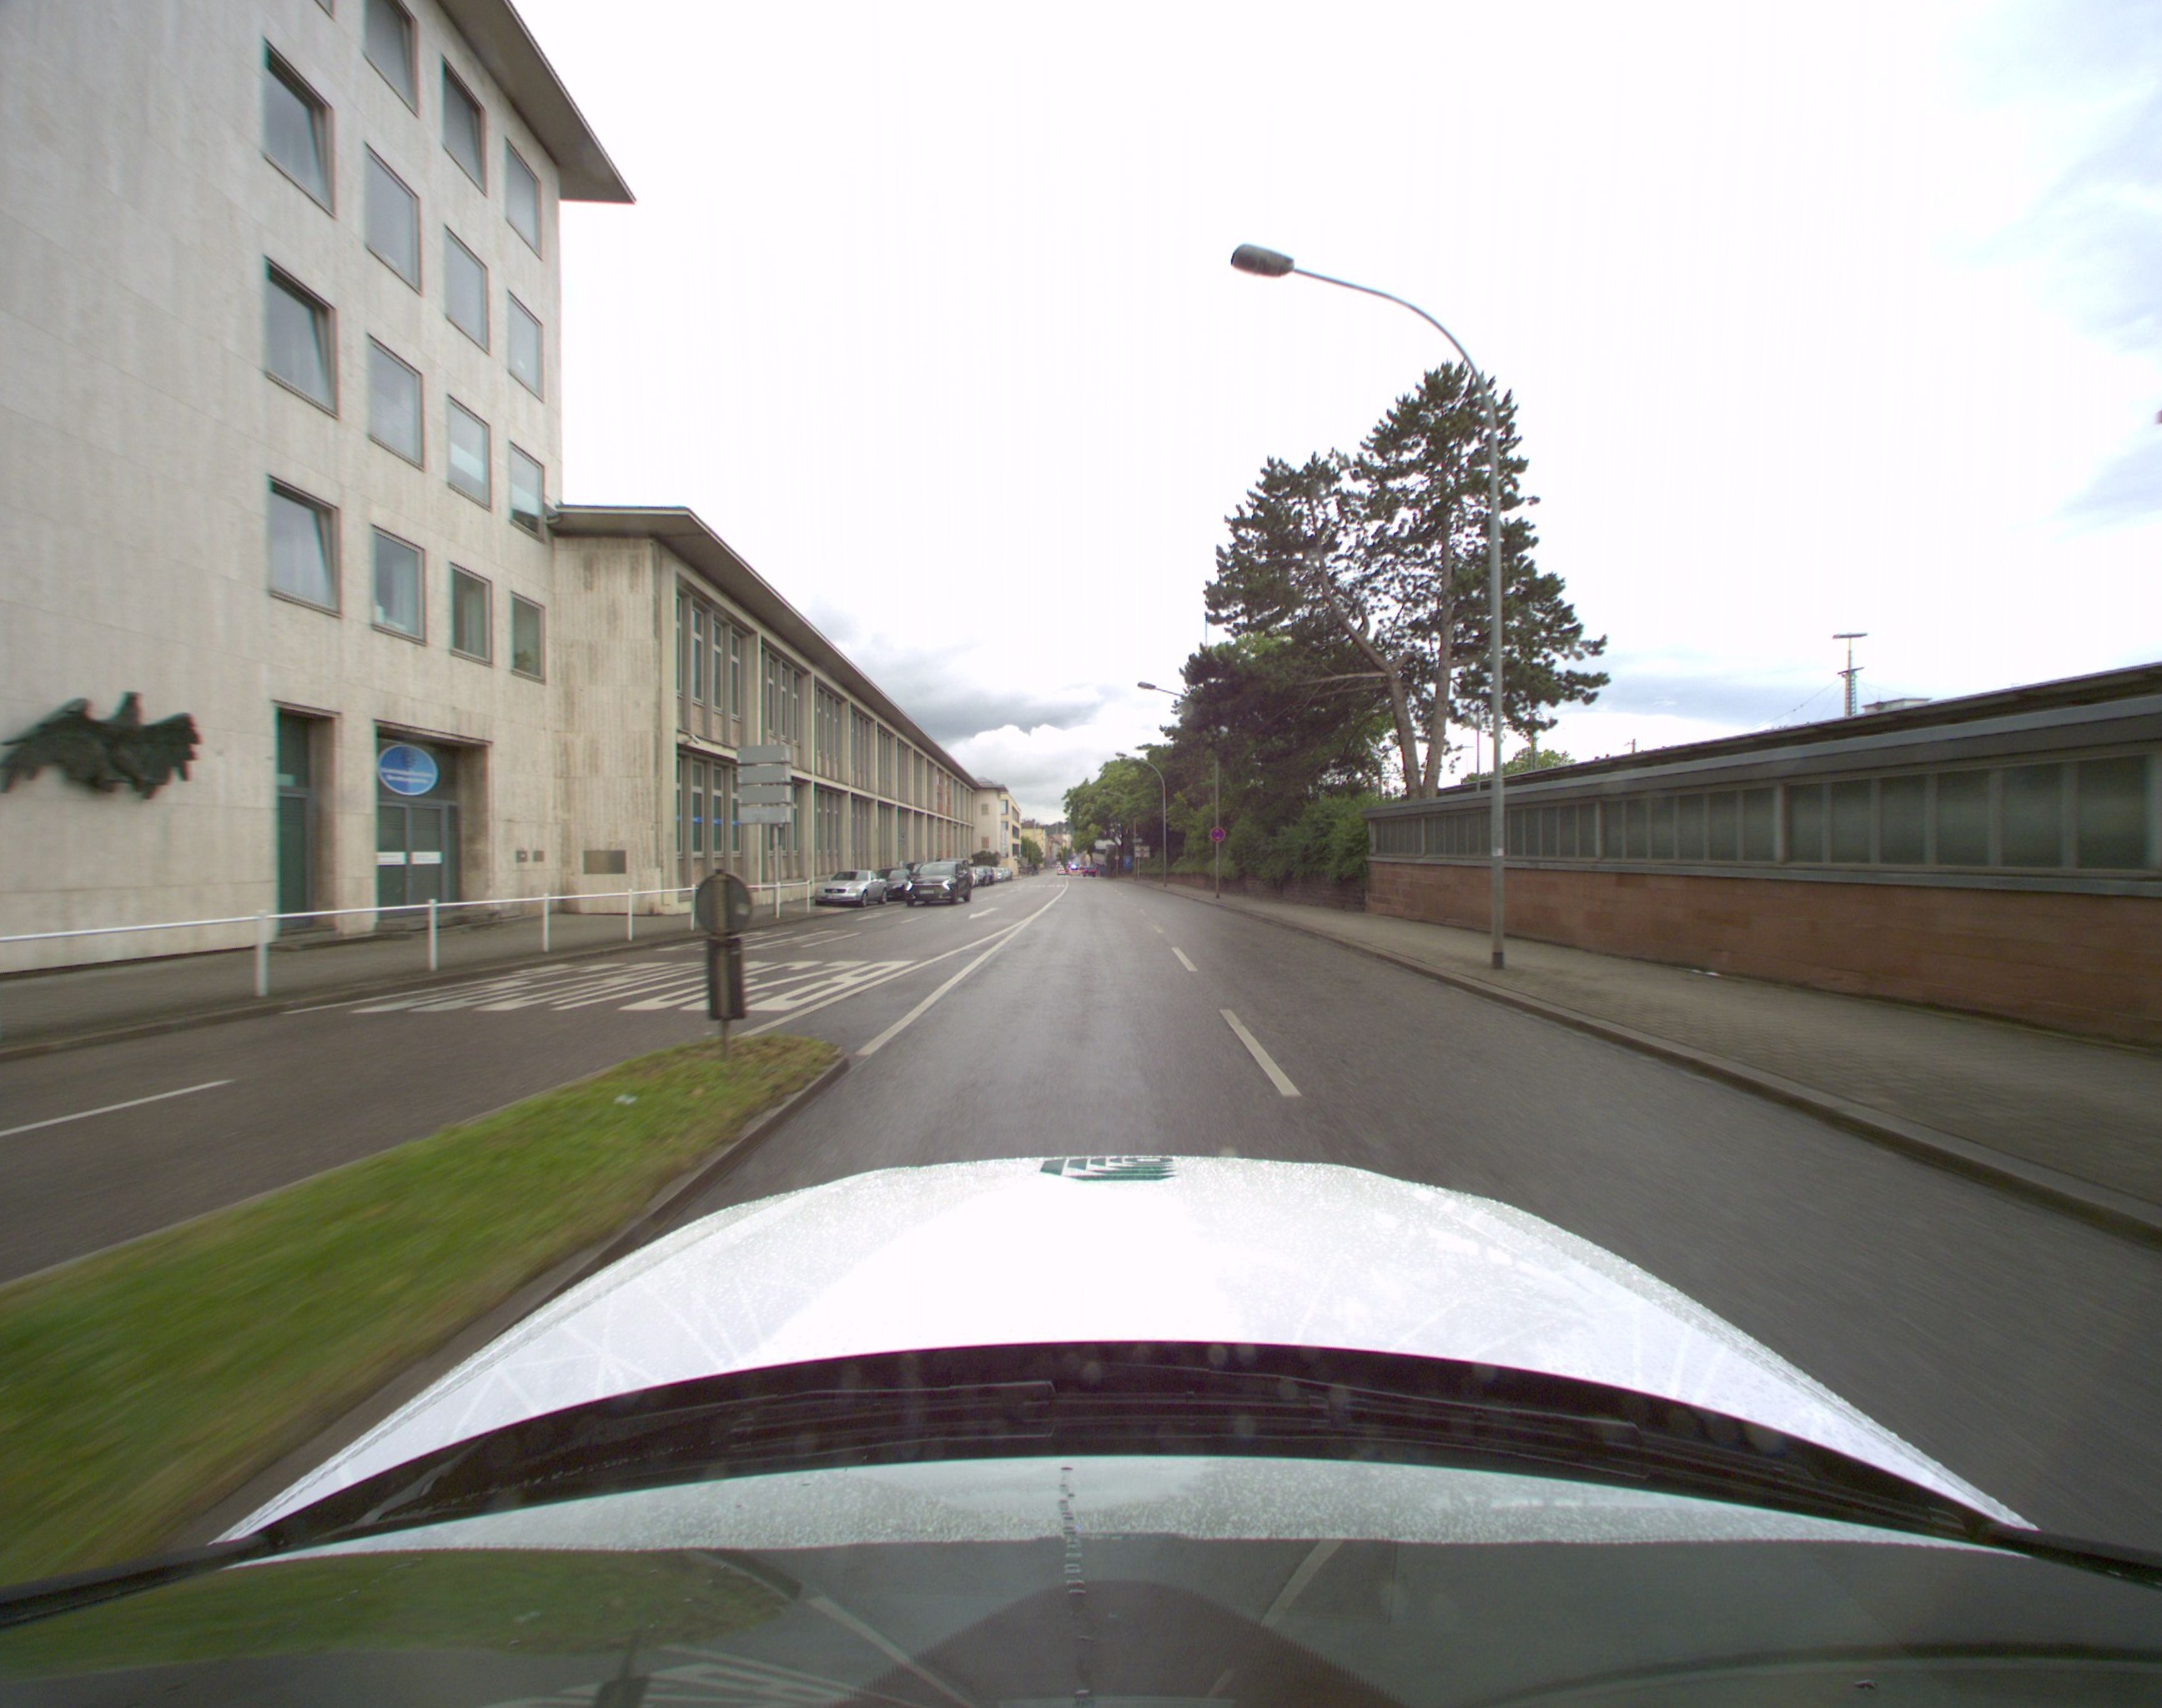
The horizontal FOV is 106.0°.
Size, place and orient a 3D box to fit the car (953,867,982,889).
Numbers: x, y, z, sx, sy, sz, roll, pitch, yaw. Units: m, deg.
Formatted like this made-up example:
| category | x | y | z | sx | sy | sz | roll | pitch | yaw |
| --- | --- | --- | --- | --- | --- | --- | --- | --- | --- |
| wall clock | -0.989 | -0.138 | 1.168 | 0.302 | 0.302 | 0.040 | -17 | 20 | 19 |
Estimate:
| category | x | y | z | sx | sy | sz | roll | pitch | yaw |
| --- | --- | --- | --- | --- | --- | --- | --- | --- | --- |
| car | -8.216 | 1.717 | 59.265 | 1.561 | 1.484 | 3.552 | -1 | -1 | 0 |

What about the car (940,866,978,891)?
| category | x | y | z | sx | sy | sz | roll | pitch | yaw |
| --- | --- | --- | --- | --- | --- | --- | --- | --- | --- |
| car | -8.104 | 1.622 | 54.548 | 1.855 | 1.552 | 4.312 | -1 | -1 | 0 |

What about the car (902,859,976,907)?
| category | x | y | z | sx | sy | sz | roll | pitch | yaw |
| --- | --- | --- | --- | --- | --- | --- | --- | --- | --- |
| car | -5.368 | 1.055 | 31.369 | 1.814 | 1.660 | 4.341 | -2 | 0 | 3 |

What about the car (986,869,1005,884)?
| category | x | y | z | sx | sy | sz | roll | pitch | yaw |
| --- | --- | --- | --- | --- | --- | --- | --- | --- | --- |
| car | -8.884 | 2.359 | 84.997 | 1.744 | 1.435 | 4.481 | 2 | -2 | -3 |

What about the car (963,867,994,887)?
| category | x | y | z | sx | sy | sz | roll | pitch | yaw |
| --- | --- | --- | --- | --- | --- | --- | --- | --- | --- |
| car | -8.133 | 1.779 | 64.760 | 1.809 | 1.484 | 4.908 | 0 | -1 | 0 |

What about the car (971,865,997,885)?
| category | x | y | z | sx | sy | sz | roll | pitch | yaw |
| --- | --- | --- | --- | --- | --- | --- | --- | --- | --- |
| car | -8.385 | 1.852 | 70.516 | 1.837 | 1.653 | 4.511 | 1 | -2 | -2 |

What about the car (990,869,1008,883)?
| category | x | y | z | sx | sy | sz | roll | pitch | yaw |
| --- | --- | --- | --- | --- | --- | --- | --- | --- | --- |
| car | -9.115 | 2.465 | 90.452 | 1.744 | 1.454 | 4.176 | 2 | -1 | -3 |

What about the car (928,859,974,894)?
| category | x | y | z | sx | sy | sz | roll | pitch | yaw |
| --- | --- | --- | --- | --- | --- | --- | --- | --- | --- |
| car | -7.719 | 1.299 | 48.827 | 1.942 | 1.944 | 4.995 | -1 | -1 | 0 |

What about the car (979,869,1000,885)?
| category | x | y | z | sx | sy | sz | roll | pitch | yaw |
| --- | --- | --- | --- | --- | --- | --- | --- | --- | --- |
| car | -8.958 | 2.241 | 79.773 | 1.674 | 1.523 | 3.918 | 0 | -1 | -1 |

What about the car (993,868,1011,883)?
| category | x | y | z | sx | sy | sz | roll | pitch | yaw |
| --- | --- | --- | --- | --- | --- | --- | --- | --- | --- |
| car | -9.227 | 2.527 | 95.762 | 1.743 | 1.598 | 4.178 | 2 | -1 | -2 |

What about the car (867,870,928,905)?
| category | x | y | z | sx | sy | sz | roll | pitch | yaw |
| --- | --- | --- | --- | --- | --- | --- | --- | --- | --- |
| car | -7.797 | 1.399 | 34.872 | 1.536 | 1.353 | 4.112 | 0 | -1 | 2 |

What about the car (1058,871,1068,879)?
| category | x | y | z | sx | sy | sz | roll | pitch | yaw |
| --- | --- | --- | --- | --- | --- | --- | --- | --- | --- |
| car | -4.322 | 5.028 | 192.343 | 1.991 | 1.680 | 3.991 | -3 | 0 | -6 |

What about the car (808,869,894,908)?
| category | x | y | z | sx | sy | sz | roll | pitch | yaw |
| --- | --- | --- | --- | --- | --- | --- | --- | --- | --- |
| car | -8.186 | 1.195 | 29.406 | 1.684 | 1.297 | 4.097 | 0 | -1 | 4 |

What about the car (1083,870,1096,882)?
| category | x | y | z | sx | sy | sz | roll | pitch | yaw |
| --- | --- | --- | --- | --- | --- | --- | --- | --- | --- |
| car | 1.439 | 3.884 | 142.052 | 2.085 | 1.910 | 4.098 | -2 | 0 | -1 |

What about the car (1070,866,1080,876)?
| category | x | y | z | sx | sy | sz | roll | pitch | yaw |
| --- | --- | --- | --- | --- | --- | --- | --- | --- | --- |
| car | -1.233 | 3.381 | 162.915 | 1.988 | 1.838 | 3.997 | -2 | 0 | -2 |
